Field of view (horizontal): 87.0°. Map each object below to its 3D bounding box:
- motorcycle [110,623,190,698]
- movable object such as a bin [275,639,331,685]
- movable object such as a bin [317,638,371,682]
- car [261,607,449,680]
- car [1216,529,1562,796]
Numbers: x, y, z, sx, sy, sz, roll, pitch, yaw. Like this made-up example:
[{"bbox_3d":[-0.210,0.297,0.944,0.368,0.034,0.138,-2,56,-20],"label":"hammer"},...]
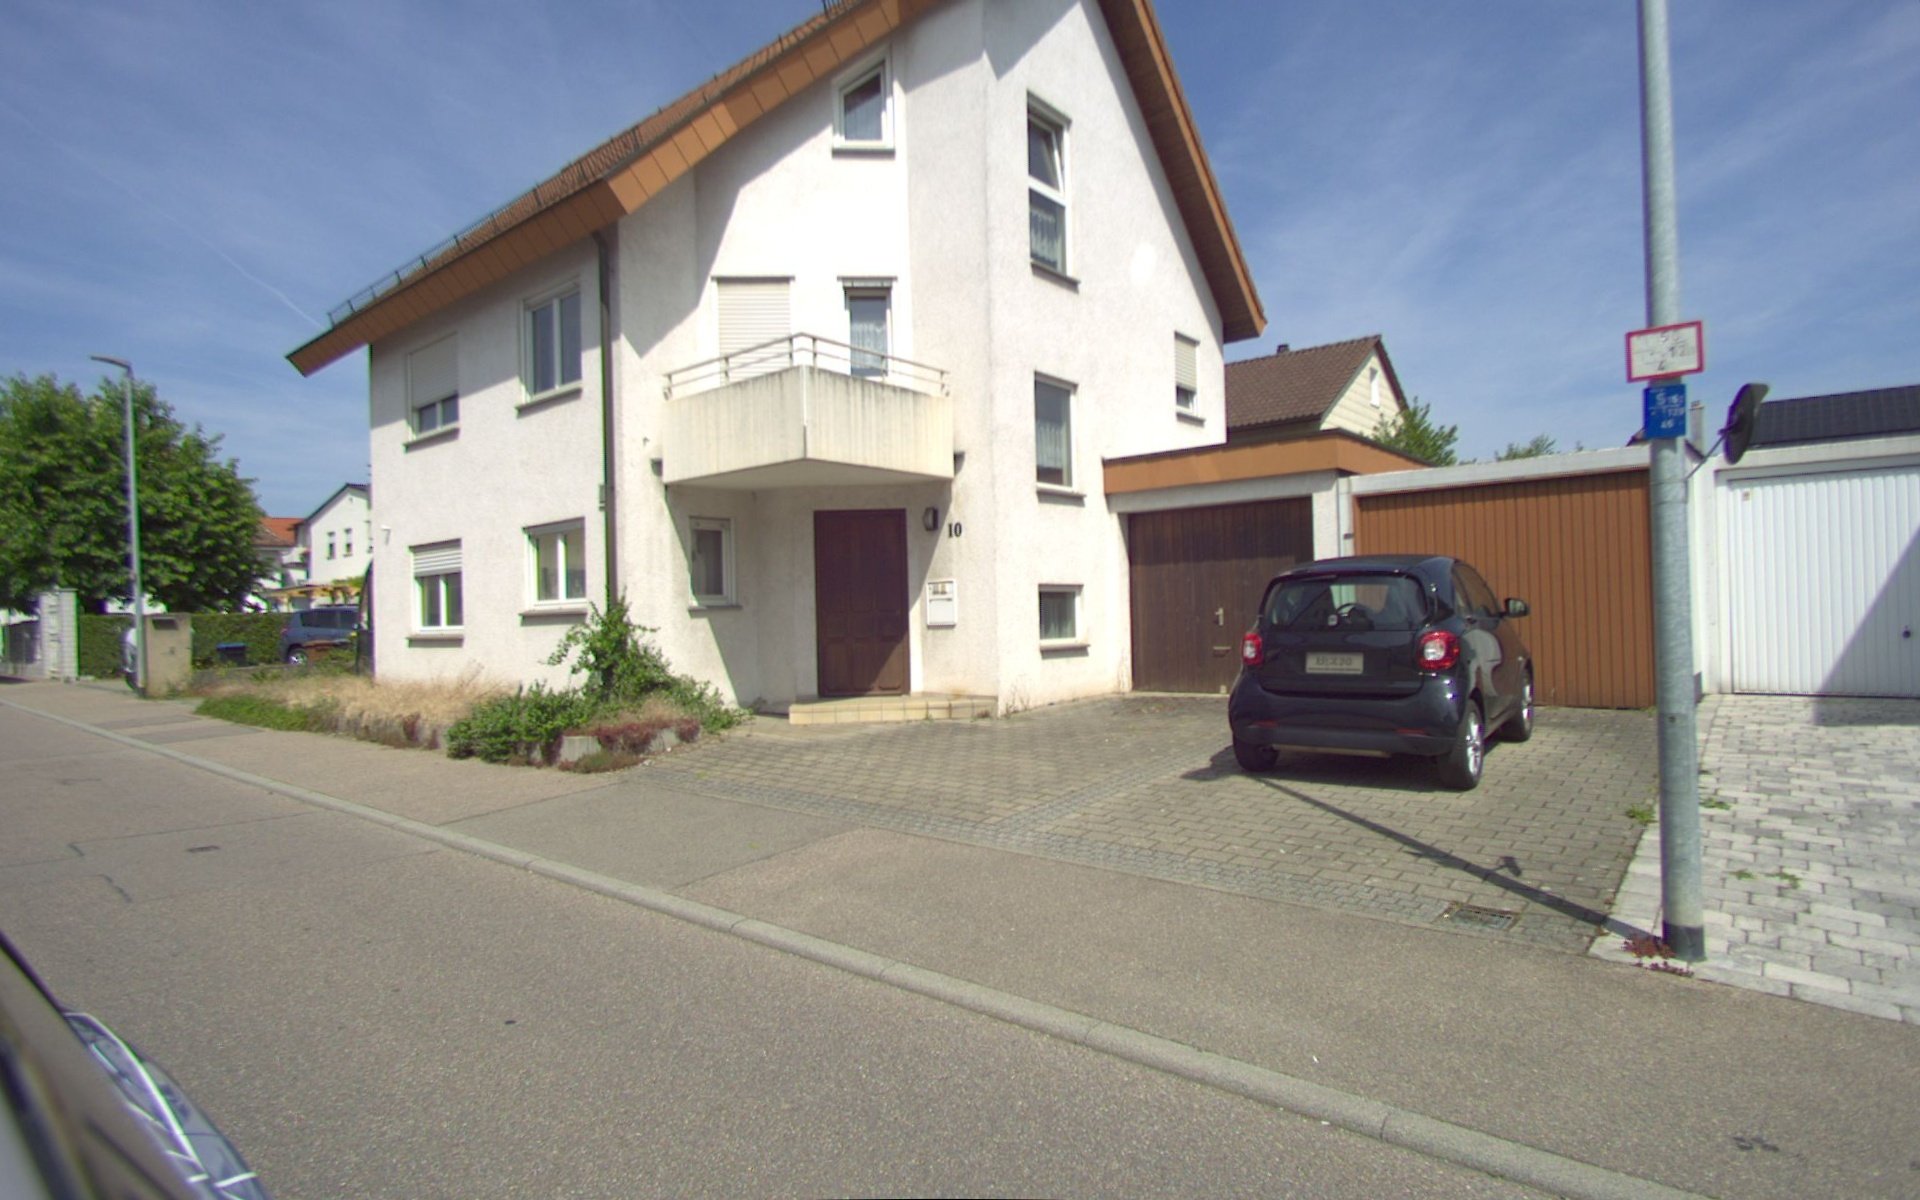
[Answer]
[{"bbox_3d":[-16.351,1.189,20.402,2.350,1.403,0.776,-2,-1,39],"label":"motorcycle"},{"bbox_3d":[-14.040,1.315,21.625,0.773,0.912,0.792,-2,-1,39],"label":"movable object such as a bin"},{"bbox_3d":[-13.547,1.306,22.259,0.773,0.912,0.792,-2,-1,39],"label":"movable object such as a bin"},{"bbox_3d":[-14.829,1.062,24.867,3.902,1.691,1.765,-1,-1,15],"label":"car"},{"bbox_3d":[3.495,0.323,7.959,1.712,1.588,3.081,-2,3,38],"label":"car"}]
